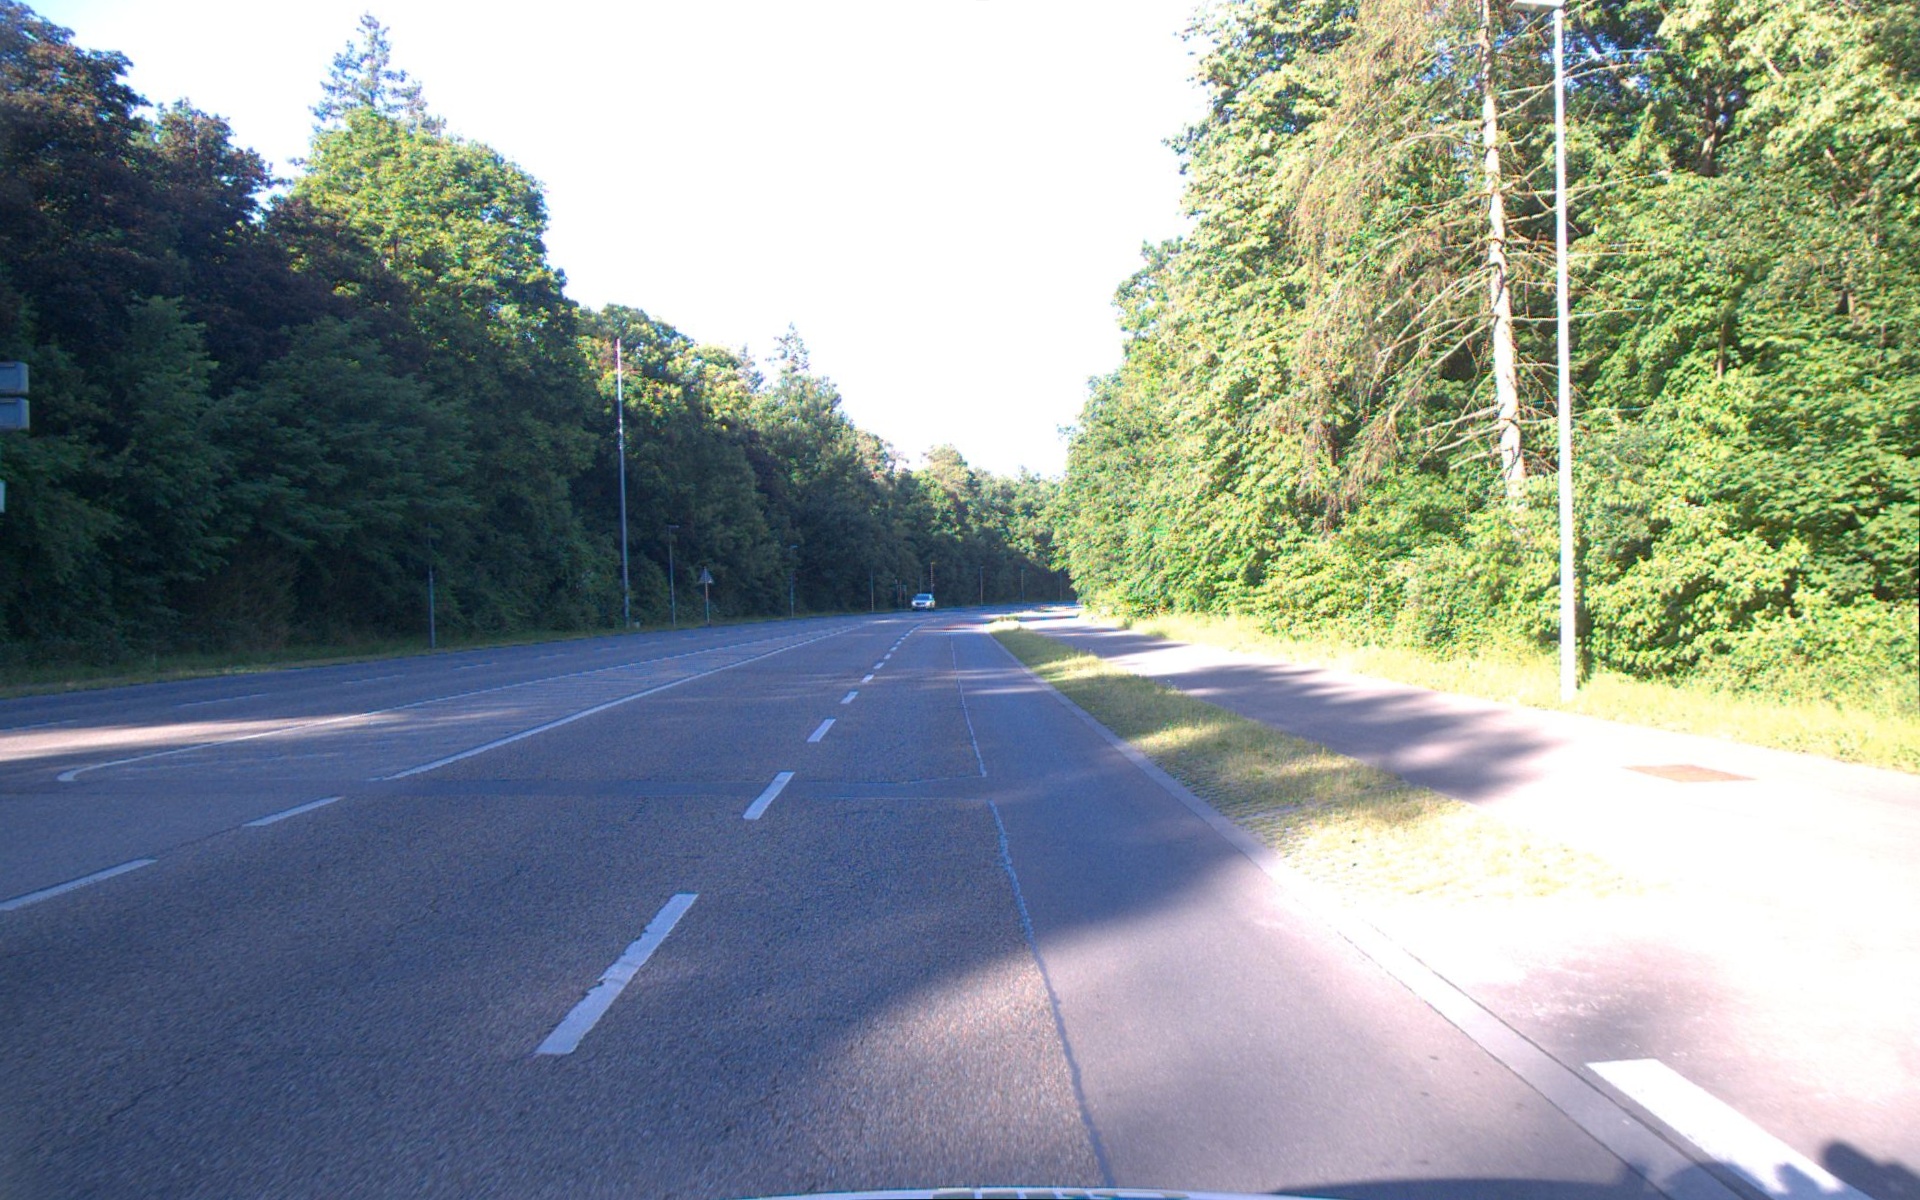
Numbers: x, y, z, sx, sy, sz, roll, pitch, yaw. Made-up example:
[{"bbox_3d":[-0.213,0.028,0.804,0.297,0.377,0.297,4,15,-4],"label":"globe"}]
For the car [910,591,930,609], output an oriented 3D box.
[{"bbox_3d":[-3.835,-0.040,158.683,1.869,1.693,4.733,0,0,0],"label":"car"}]
